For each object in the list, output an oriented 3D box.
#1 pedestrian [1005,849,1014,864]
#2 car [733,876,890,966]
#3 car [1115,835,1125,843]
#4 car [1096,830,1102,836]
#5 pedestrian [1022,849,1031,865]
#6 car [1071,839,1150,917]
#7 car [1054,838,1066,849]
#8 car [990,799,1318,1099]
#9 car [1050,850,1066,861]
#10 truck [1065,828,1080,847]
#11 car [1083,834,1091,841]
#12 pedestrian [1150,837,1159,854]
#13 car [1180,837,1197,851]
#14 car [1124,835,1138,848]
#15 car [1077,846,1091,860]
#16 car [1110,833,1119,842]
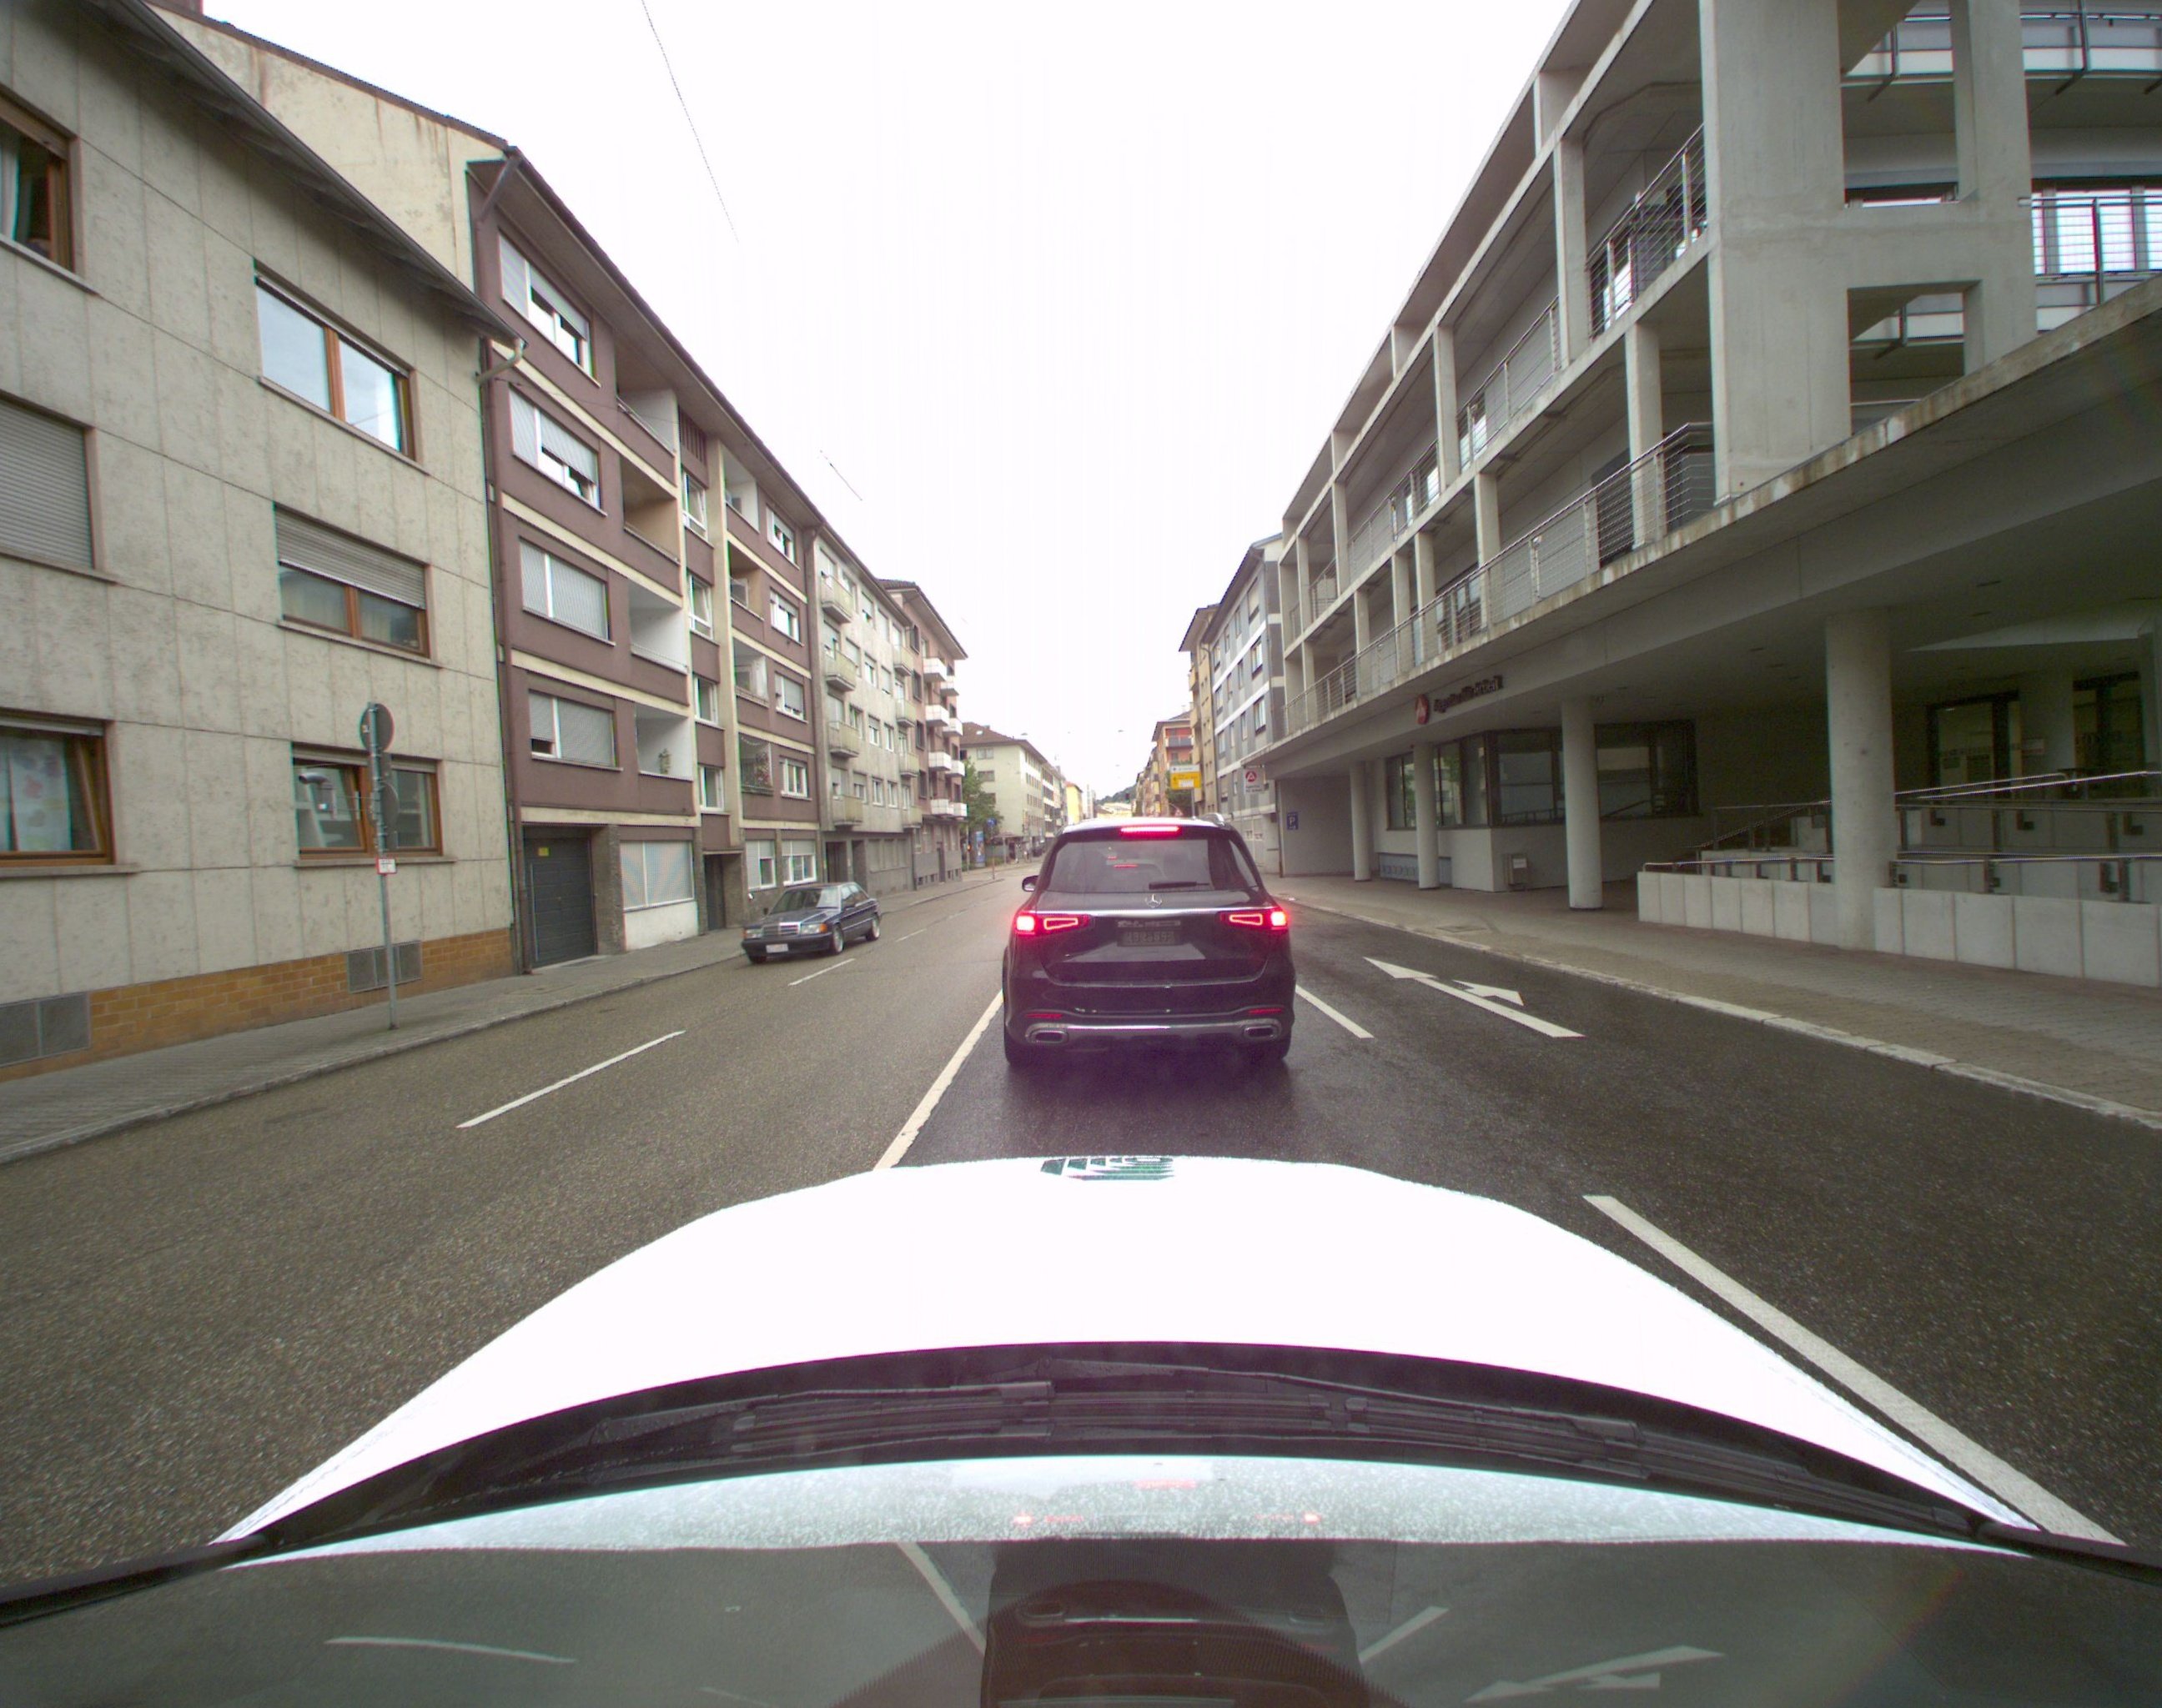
[{"bbox_3d":[-8.965,0.334,102.211,0.920,1.902,0.706,-3,0,0],"label":"pedestrian"},{"bbox_3d":[-5.348,1.264,16.790,1.593,1.370,4.362,-6,0,1],"label":"car"},{"bbox_3d":[7.599,-2.922,158.444,1.613,1.387,4.216,-4,-1,0],"label":"car"},{"bbox_3d":[5.566,-6.338,250.443,1.613,1.539,4.216,-4,-1,0],"label":"car"},{"bbox_3d":[-6.330,0.348,94.784,0.630,1.764,0.777,-3,0,18],"label":"pedestrian"},{"bbox_3d":[0.668,0.582,20.958,1.746,1.731,4.216,-2,-1,0],"label":"car"},{"bbox_3d":[-3.379,-1.696,131.947,1.613,1.539,4.216,-4,-1,0],"label":"car"},{"bbox_3d":[0.510,0.595,7.136,1.977,1.805,4.391,0,-1,2],"label":"car"},{"bbox_3d":[-2.953,0.214,104.023,1.879,1.264,4.216,-4,-1,0],"label":"car"},{"bbox_3d":[-1.590,-3.156,157.371,2.472,3.046,9.917,-4,-1,0],"label":"truck"},{"bbox_3d":[1.466,-3.926,193.971,1.613,1.539,4.216,-4,-1,0],"label":"car"},{"bbox_3d":[8.975,-1.034,99.417,0.920,2.013,0.706,-3,0,0],"label":"pedestrian"},{"bbox_3d":[12.483,-1.150,94.537,1.664,1.588,3.334,-3,0,4],"label":"car"},{"bbox_3d":[7.483,-1.906,122.663,1.718,1.759,4.217,-4,0,0],"label":"car"},{"bbox_3d":[0.389,-0.127,101.430,1.613,1.539,4.216,-4,-1,0],"label":"car"},{"bbox_3d":[7.079,-3.423,170.773,1.613,1.539,4.216,-4,-1,0],"label":"car"}]
